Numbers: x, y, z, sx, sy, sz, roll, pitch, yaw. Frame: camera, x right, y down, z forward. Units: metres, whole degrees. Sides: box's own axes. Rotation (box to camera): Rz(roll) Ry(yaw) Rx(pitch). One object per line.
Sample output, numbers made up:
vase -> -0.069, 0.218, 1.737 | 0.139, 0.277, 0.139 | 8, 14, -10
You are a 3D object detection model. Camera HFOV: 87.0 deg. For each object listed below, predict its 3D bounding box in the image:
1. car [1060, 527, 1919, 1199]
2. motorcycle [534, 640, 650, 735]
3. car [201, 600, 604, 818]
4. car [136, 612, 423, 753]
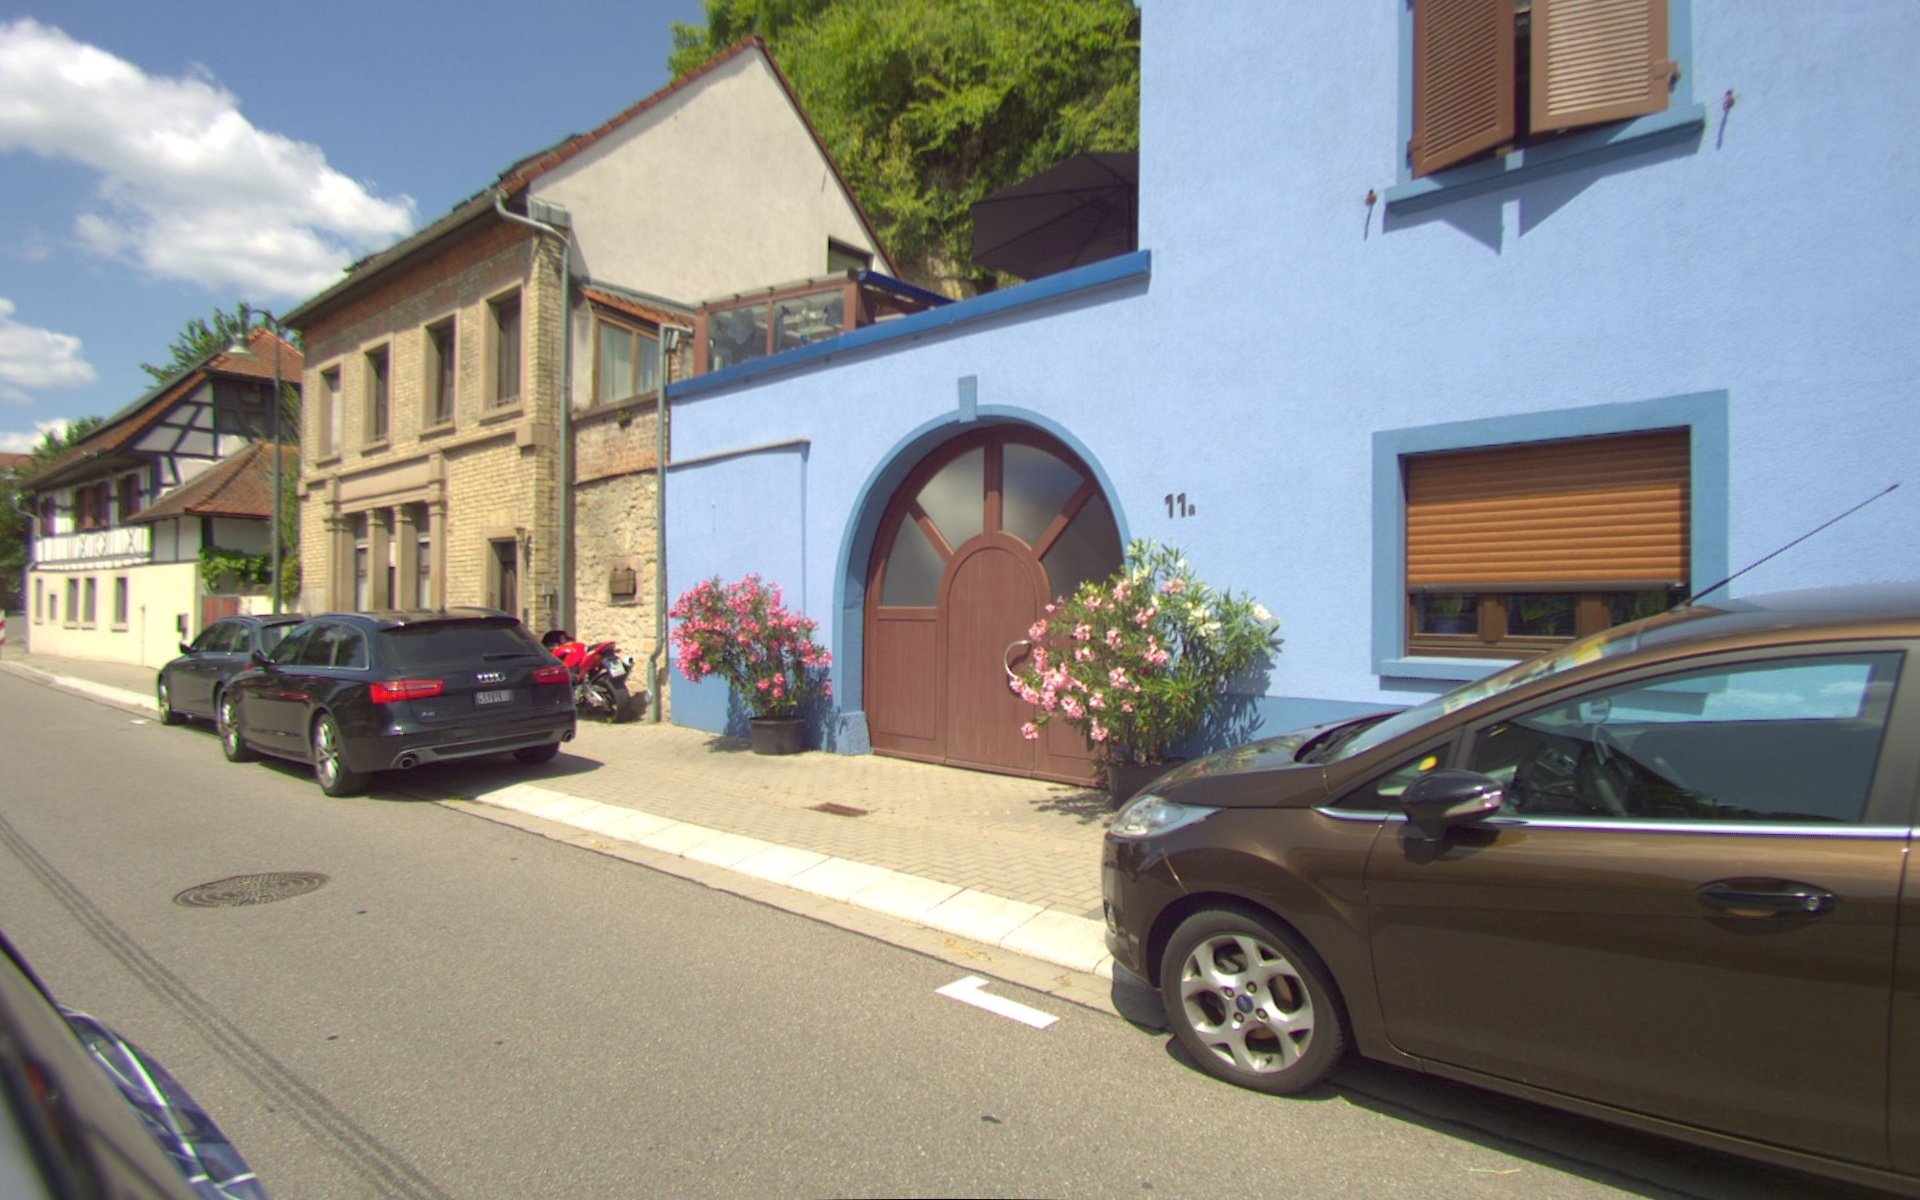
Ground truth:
car -> 2.334, 0.606, 2.654 | 3.856, 1.541, 1.699 | -2, 1, 43
motorcycle -> -4.528, 1.037, 12.388 | 1.857, 1.008, 0.413 | 0, 3, 40
car -> -5.363, 0.825, 9.421 | 4.668, 1.475, 1.865 | -2, 1, 43
car -> -8.927, 0.915, 13.120 | 4.542, 1.477, 1.937 | 0, 0, 40
